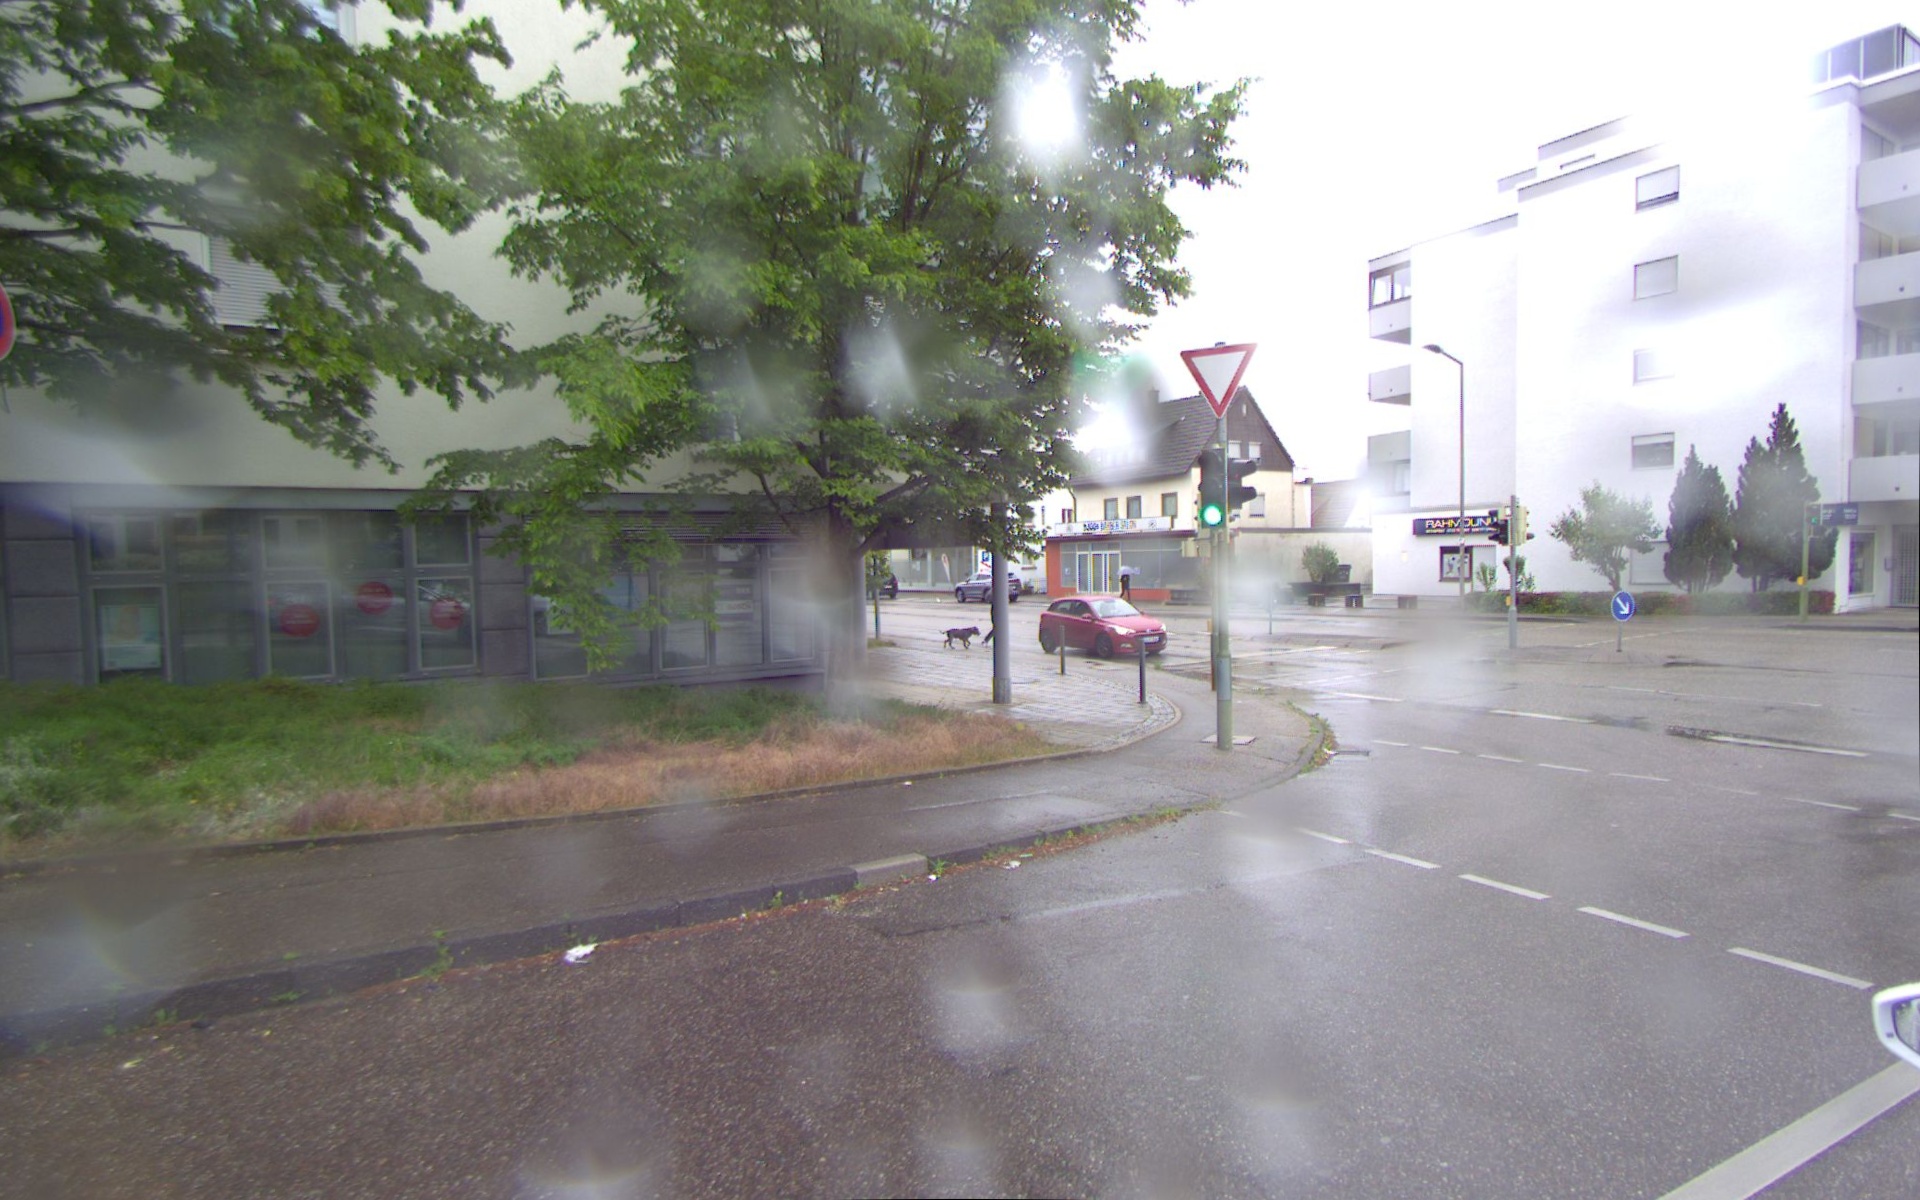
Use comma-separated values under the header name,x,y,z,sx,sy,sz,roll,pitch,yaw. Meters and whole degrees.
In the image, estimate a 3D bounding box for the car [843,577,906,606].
name,x,y,z,sx,sy,sz,roll,pitch,yaw
car,-5.733,-0.593,66.671,2.020,1.718,4.917,-6,3,-33

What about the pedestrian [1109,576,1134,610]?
name,x,y,z,sx,sy,sz,roll,pitch,yaw
pedestrian,7.722,-0.326,48.139,0.746,1.589,0.985,0,1,-30

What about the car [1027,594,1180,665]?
name,x,y,z,sx,sy,sz,roll,pitch,yaw
car,3.592,0.684,25.843,1.759,1.527,4.073,-5,3,-28

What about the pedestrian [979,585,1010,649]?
name,x,y,z,sx,sy,sz,roll,pitch,yaw
pedestrian,0.962,0.455,28.078,0.657,1.725,0.945,-1,1,-11

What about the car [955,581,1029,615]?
name,x,y,z,sx,sy,sz,roll,pitch,yaw
car,1.760,-0.139,56.236,1.858,1.665,4.754,-5,3,-30
